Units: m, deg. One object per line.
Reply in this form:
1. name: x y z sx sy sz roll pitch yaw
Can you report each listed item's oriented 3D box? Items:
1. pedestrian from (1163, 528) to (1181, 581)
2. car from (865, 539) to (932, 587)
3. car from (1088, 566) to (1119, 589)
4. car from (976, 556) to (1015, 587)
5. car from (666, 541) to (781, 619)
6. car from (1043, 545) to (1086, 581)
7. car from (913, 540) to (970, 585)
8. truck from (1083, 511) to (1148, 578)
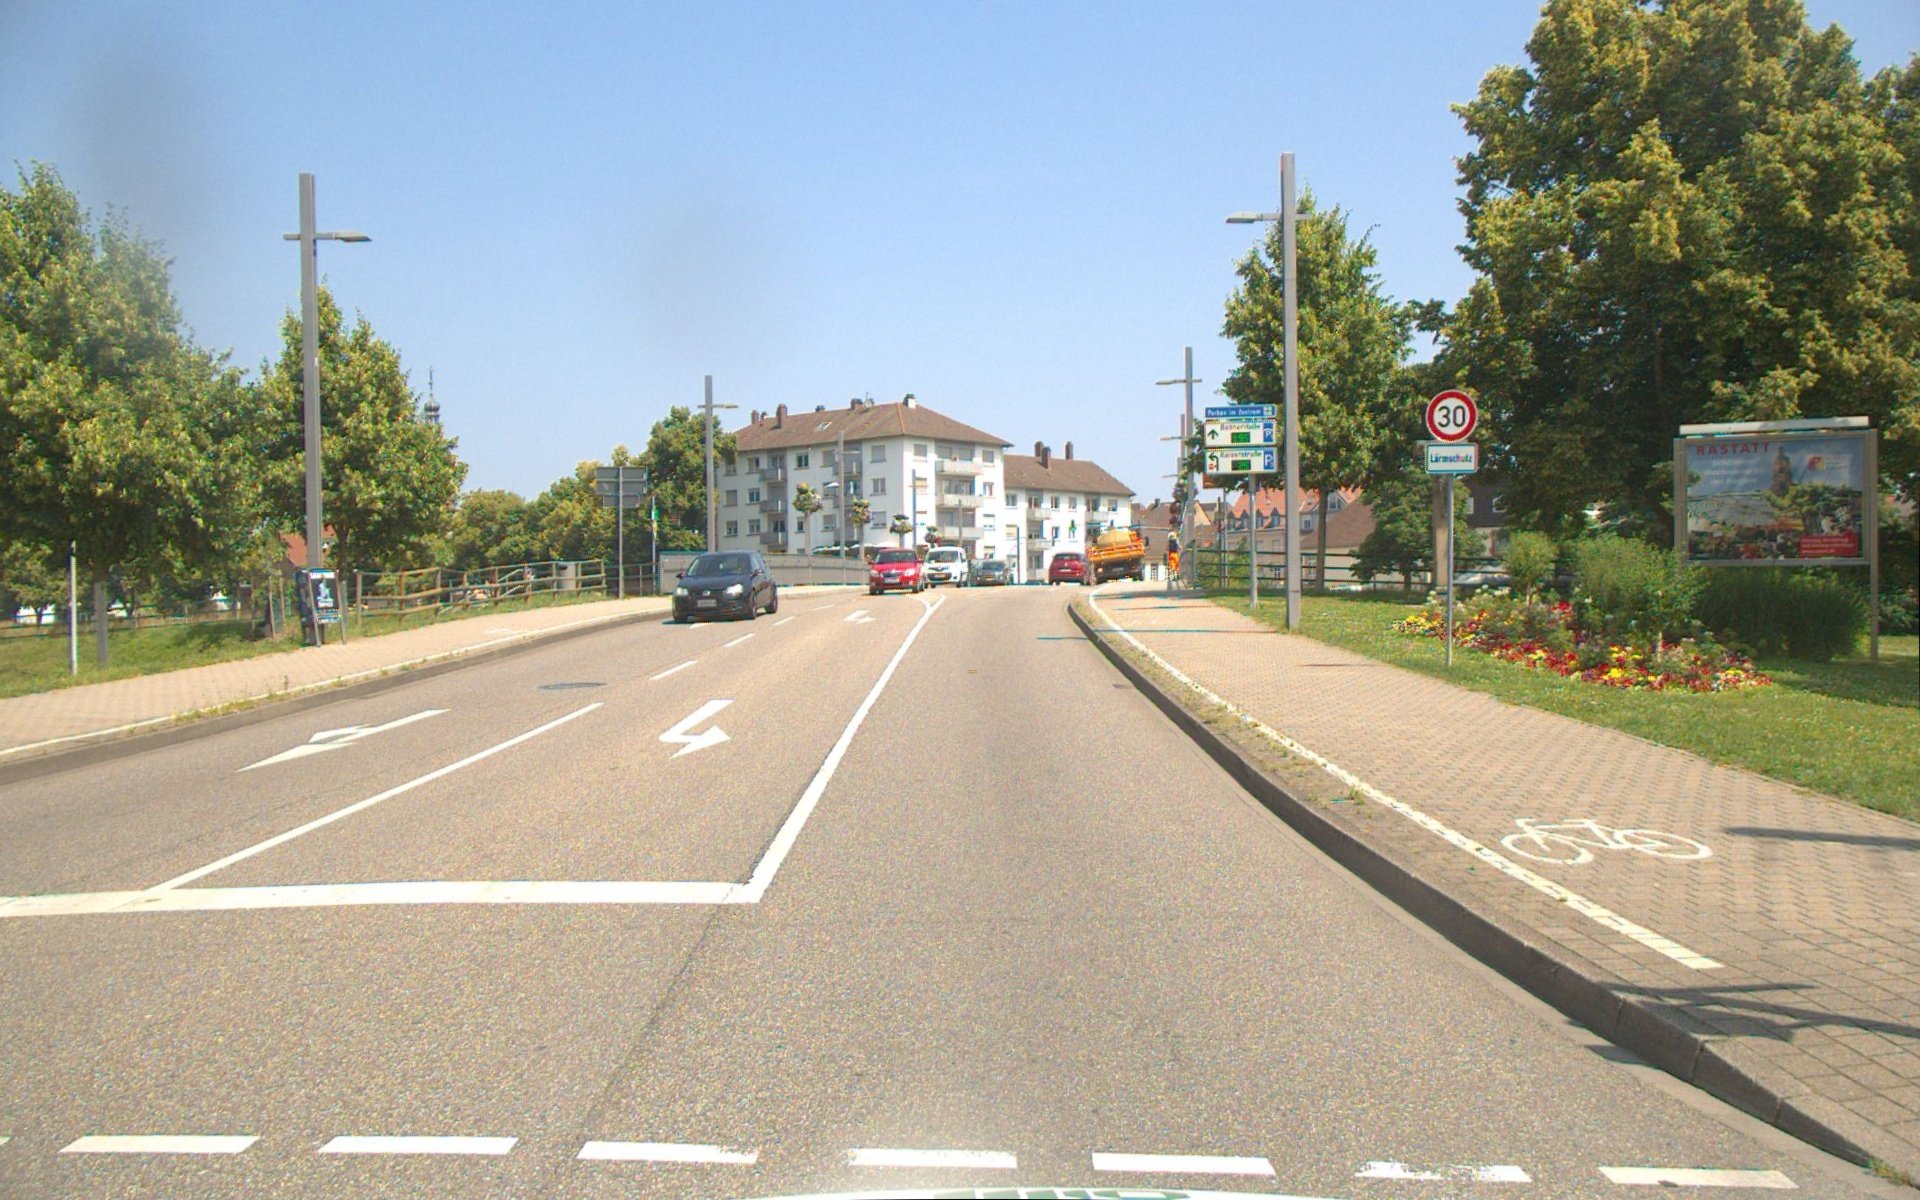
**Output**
1. pedestrian: 8.034 -1.718 62.547 0.536 1.994 0.672 -1 -1 -3
2. car: -2.006 -1.192 54.698 1.612 1.489 3.864 -1 0 7
3. car: 10.131 -1.587 116.687 1.995 1.529 4.420 0 0 7
4. car: 2.051 -1.625 94.382 1.700 1.669 3.925 -3 0 8
5. car: -5.160 -0.488 36.605 1.678 1.510 4.035 -2 3 4
6. car: 5.203 -1.800 81.665 1.948 1.641 4.345 -1 0 5
7. car: -0.777 -1.694 74.499 1.798 1.892 4.668 -2 1 8
8. truck: 6.898 -2.386 72.756 2.550 2.738 5.828 -1 1 7
